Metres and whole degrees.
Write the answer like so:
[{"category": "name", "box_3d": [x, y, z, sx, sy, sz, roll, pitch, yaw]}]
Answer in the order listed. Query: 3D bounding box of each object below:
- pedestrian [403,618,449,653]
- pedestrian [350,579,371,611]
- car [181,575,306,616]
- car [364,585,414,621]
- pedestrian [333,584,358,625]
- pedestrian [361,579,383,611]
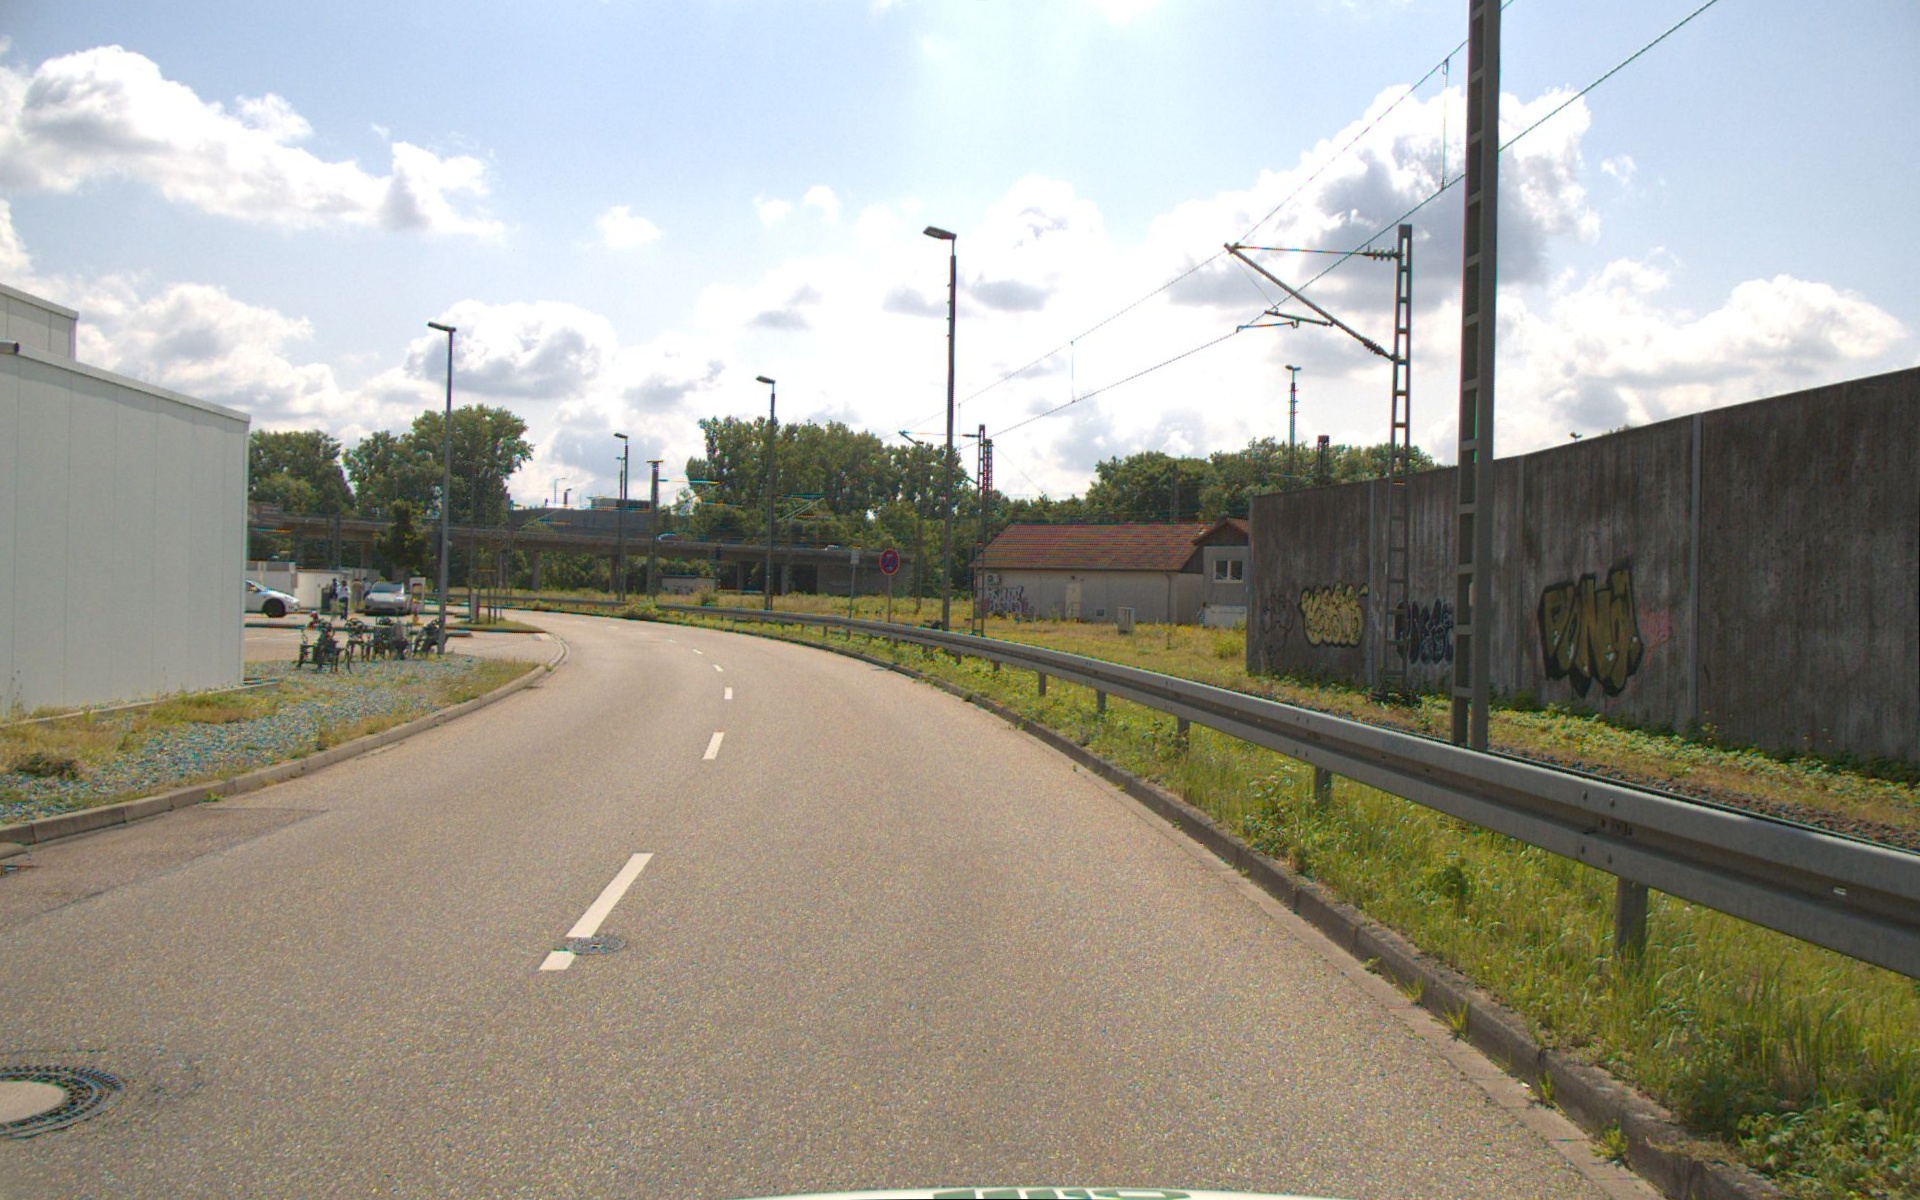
[{"category": "pedestrian", "box_3d": [-12.344, 0.818, 38.254, 0.846, 0.773, 0.817, 2, -1, -7]}, {"category": "pedestrian", "box_3d": [-30.757, -0.259, 84.888, 0.743, 1.593, 0.712, 0, -1, 31]}, {"category": "car", "box_3d": [-29.626, -0.174, 68.519, 4.479, 1.551, 1.990, 2, -1, -18]}, {"category": "car", "box_3d": [-28.124, 0.129, 81.598, 1.898, 1.544, 4.758, 2, 1, -14]}, {"category": "pedestrian", "box_3d": [-25.556, 0.181, 68.800, 0.849, 1.682, 0.936, 1, -1, -17]}, {"category": "pedestrian", "box_3d": [-30.026, -0.243, 84.465, 0.696, 1.607, 0.722, 0, -1, 21]}]
